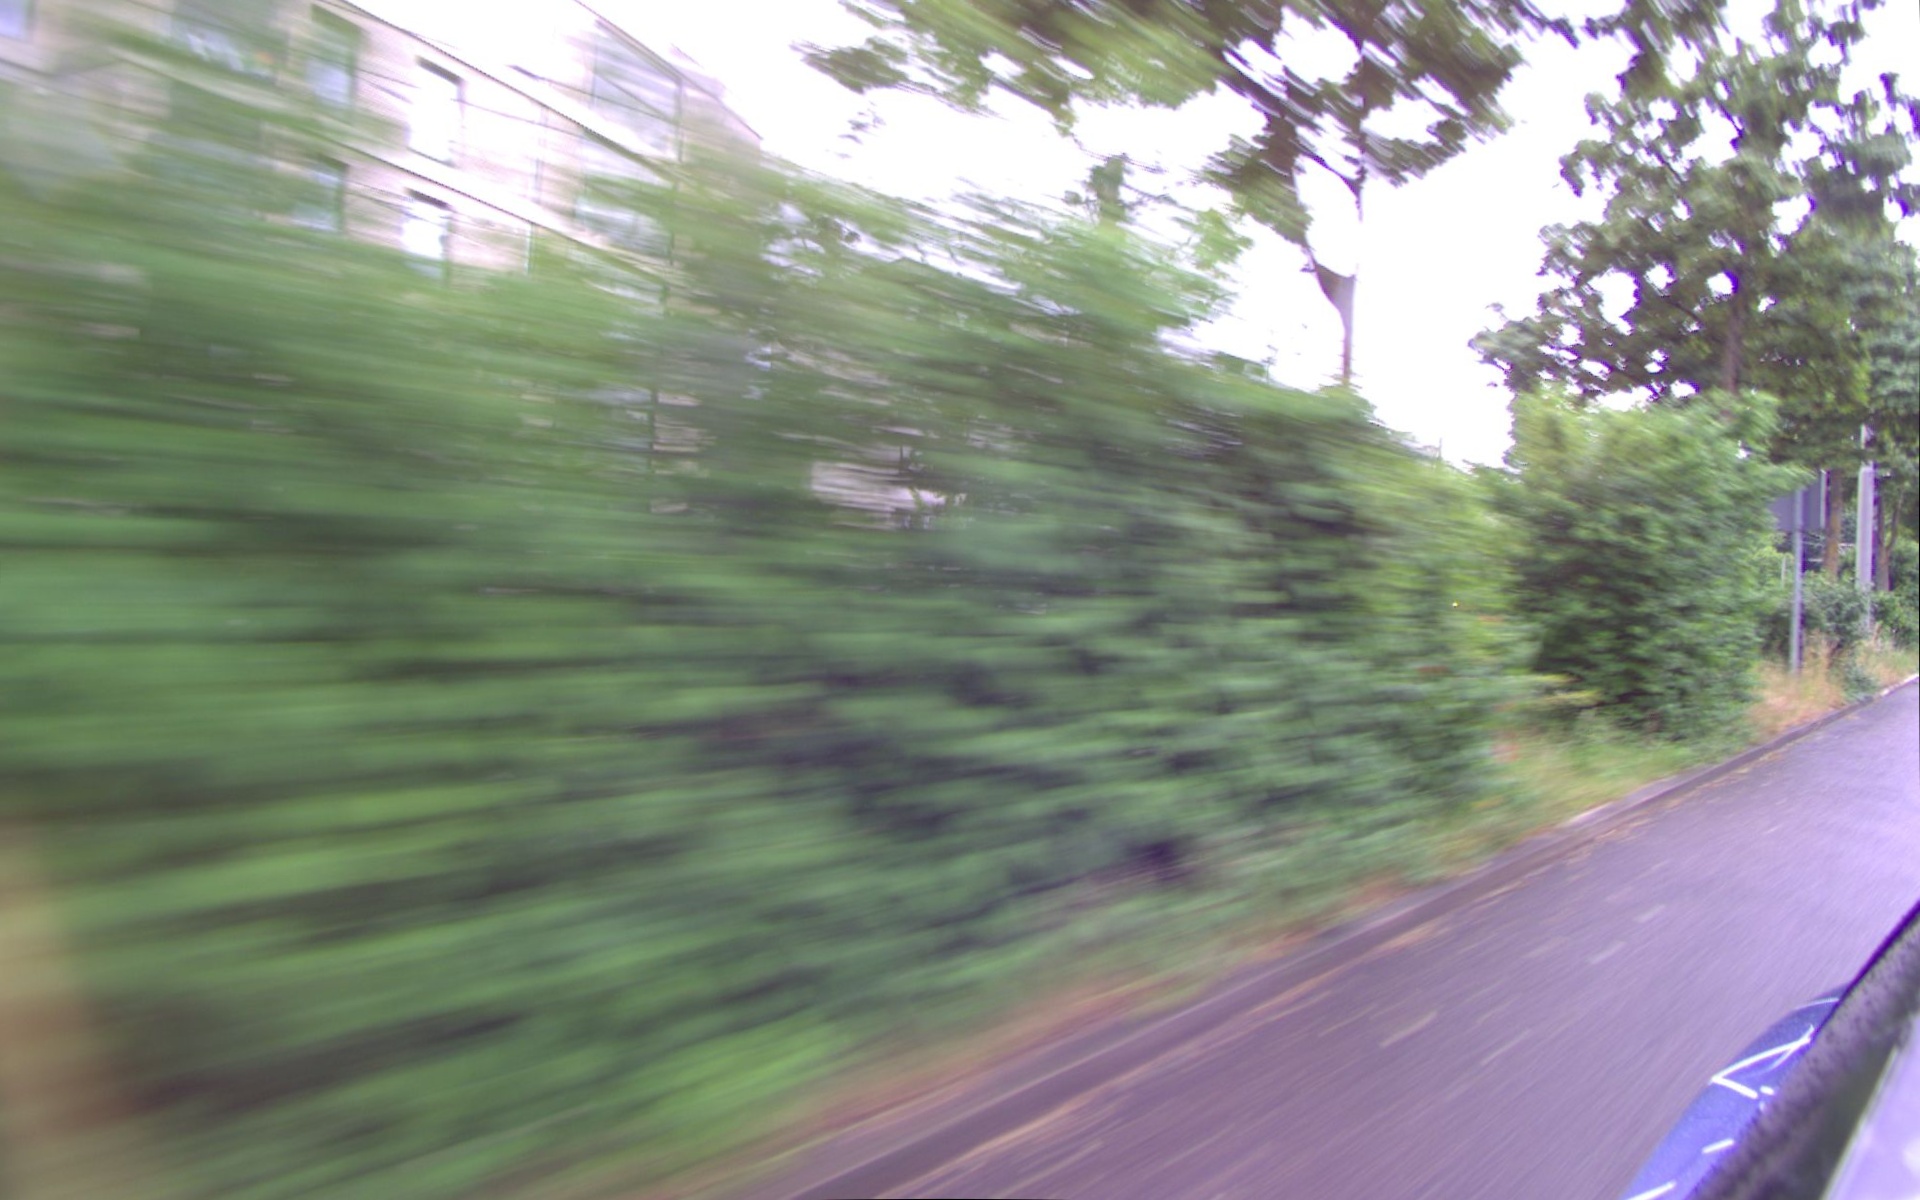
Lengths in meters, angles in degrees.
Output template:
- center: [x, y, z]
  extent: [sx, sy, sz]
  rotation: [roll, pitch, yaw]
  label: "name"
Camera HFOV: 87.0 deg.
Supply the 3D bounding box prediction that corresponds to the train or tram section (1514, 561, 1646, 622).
- center: [40.147, -0.464, 65.163]
  extent: [14.598, 3.542, 3.111]
  rotation: [1, 0, -41]
  label: "train or tram section"
